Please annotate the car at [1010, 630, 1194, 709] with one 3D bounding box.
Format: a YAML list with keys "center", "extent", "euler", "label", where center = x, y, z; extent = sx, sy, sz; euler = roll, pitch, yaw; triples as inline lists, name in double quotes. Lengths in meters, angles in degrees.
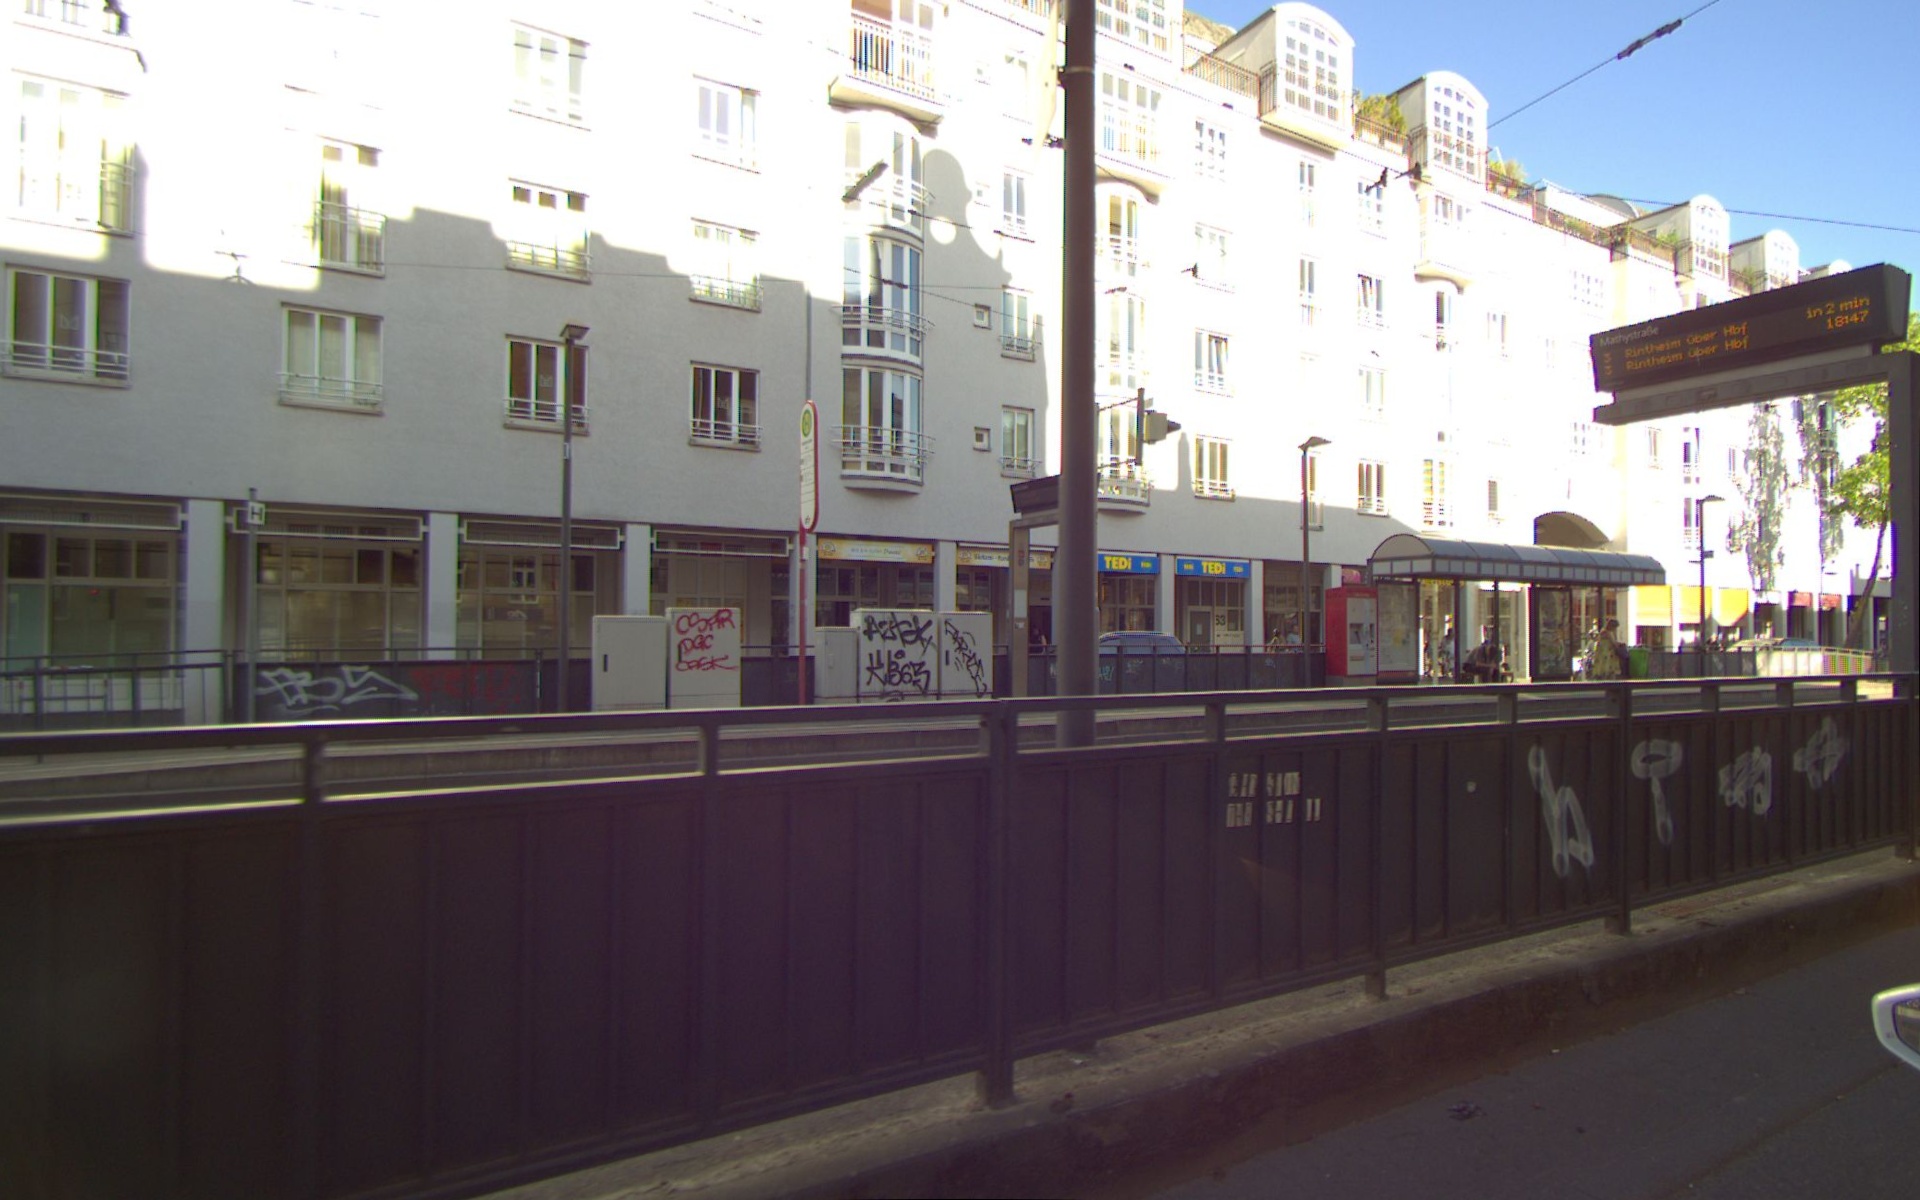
- center: [3.034, 1.416, 21.356]
  extent: [3.602, 1.529, 1.684]
  euler: [1, -2, -30]
  label: "car"

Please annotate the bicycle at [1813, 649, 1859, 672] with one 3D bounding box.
- center: [36.631, 2.522, 42.010]
  extent: [1.465, 0.953, 0.393]
  euler: [0, -2, 6]
  label: "bicycle"

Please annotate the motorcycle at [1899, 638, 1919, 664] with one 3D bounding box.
- center: [48.886, 2.565, 50.381]
  extent: [0.661, 1.305, 2.499]
  euler: [1, -2, -32]
  label: "motorcycle"

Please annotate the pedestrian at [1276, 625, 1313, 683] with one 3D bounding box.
- center: [9.721, 1.560, 29.189]
  extent: [0.591, 1.642, 0.837]
  euler: [1, -3, -34]
  label: "pedestrian"

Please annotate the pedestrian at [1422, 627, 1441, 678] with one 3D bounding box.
- center: [15.976, 1.772, 34.028]
  extent: [0.486, 1.686, 0.359]
  euler: [2, -1, -29]
  label: "pedestrian"

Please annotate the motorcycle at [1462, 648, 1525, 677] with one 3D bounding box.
- center: [14.223, 1.673, 26.755]
  extent: [1.982, 0.729, 0.491]
  euler: [3, -2, -30]
  label: "motorcycle"

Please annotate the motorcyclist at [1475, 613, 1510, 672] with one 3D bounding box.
- center: [14.134, 1.123, 26.655]
  extent: [0.713, 1.522, 0.484]
  euler: [2, -1, -29]
  label: "motorcyclist"

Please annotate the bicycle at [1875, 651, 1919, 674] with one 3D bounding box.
- center: [39.768, 2.649, 42.572]
  extent: [1.465, 0.953, 0.393]
  euler: [0, -2, 6]
  label: "bicycle"

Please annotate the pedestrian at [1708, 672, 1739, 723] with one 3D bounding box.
- center: [24.668, 3.152, 32.463]
  extent: [0.676, 1.579, 0.577]
  euler: [0, -1, -31]
  label: "pedestrian"

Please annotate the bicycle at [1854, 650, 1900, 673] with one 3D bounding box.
- center: [38.162, 2.545, 41.810]
  extent: [1.465, 0.953, 0.393]
  euler: [0, -2, 6]
  label: "bicycle"

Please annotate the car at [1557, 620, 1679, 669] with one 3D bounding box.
- center: [20.237, 1.331, 30.875]
  extent: [3.602, 1.440, 1.684]
  euler: [1, -2, -30]
  label: "car"

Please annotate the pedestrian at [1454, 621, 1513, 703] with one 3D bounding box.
- center: [10.152, 1.183, 19.472]
  extent: [0.734, 1.548, 0.727]
  euler: [0, -2, -31]
  label: "pedestrian"

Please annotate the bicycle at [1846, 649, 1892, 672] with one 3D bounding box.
- center: [38.206, 2.557, 42.243]
  extent: [1.465, 0.953, 0.393]
  euler: [0, -2, 6]
  label: "bicycle"

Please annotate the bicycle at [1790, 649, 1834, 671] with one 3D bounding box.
- center: [36.816, 2.587, 43.410]
  extent: [1.465, 0.953, 0.393]
  euler: [0, -2, 6]
  label: "bicycle"

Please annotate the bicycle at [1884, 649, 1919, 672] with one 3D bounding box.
- center: [39.713, 2.525, 42.118]
  extent: [1.465, 0.953, 0.393]
  euler: [0, -2, 6]
  label: "bicycle"

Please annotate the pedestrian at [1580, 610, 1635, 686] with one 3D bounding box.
- center: [13.737, 1.008, 21.314]
  extent: [0.734, 1.579, 0.727]
  euler: [0, -1, -31]
  label: "pedestrian"

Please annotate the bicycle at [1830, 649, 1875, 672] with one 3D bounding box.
- center: [38.293, 2.585, 43.084]
  extent: [1.465, 0.953, 0.393]
  euler: [0, -2, 6]
  label: "bicycle"

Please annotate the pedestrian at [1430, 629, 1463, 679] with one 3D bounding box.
- center: [16.261, 1.784, 33.559]
  extent: [0.835, 1.642, 0.593]
  euler: [1, -2, -30]
  label: "pedestrian"
